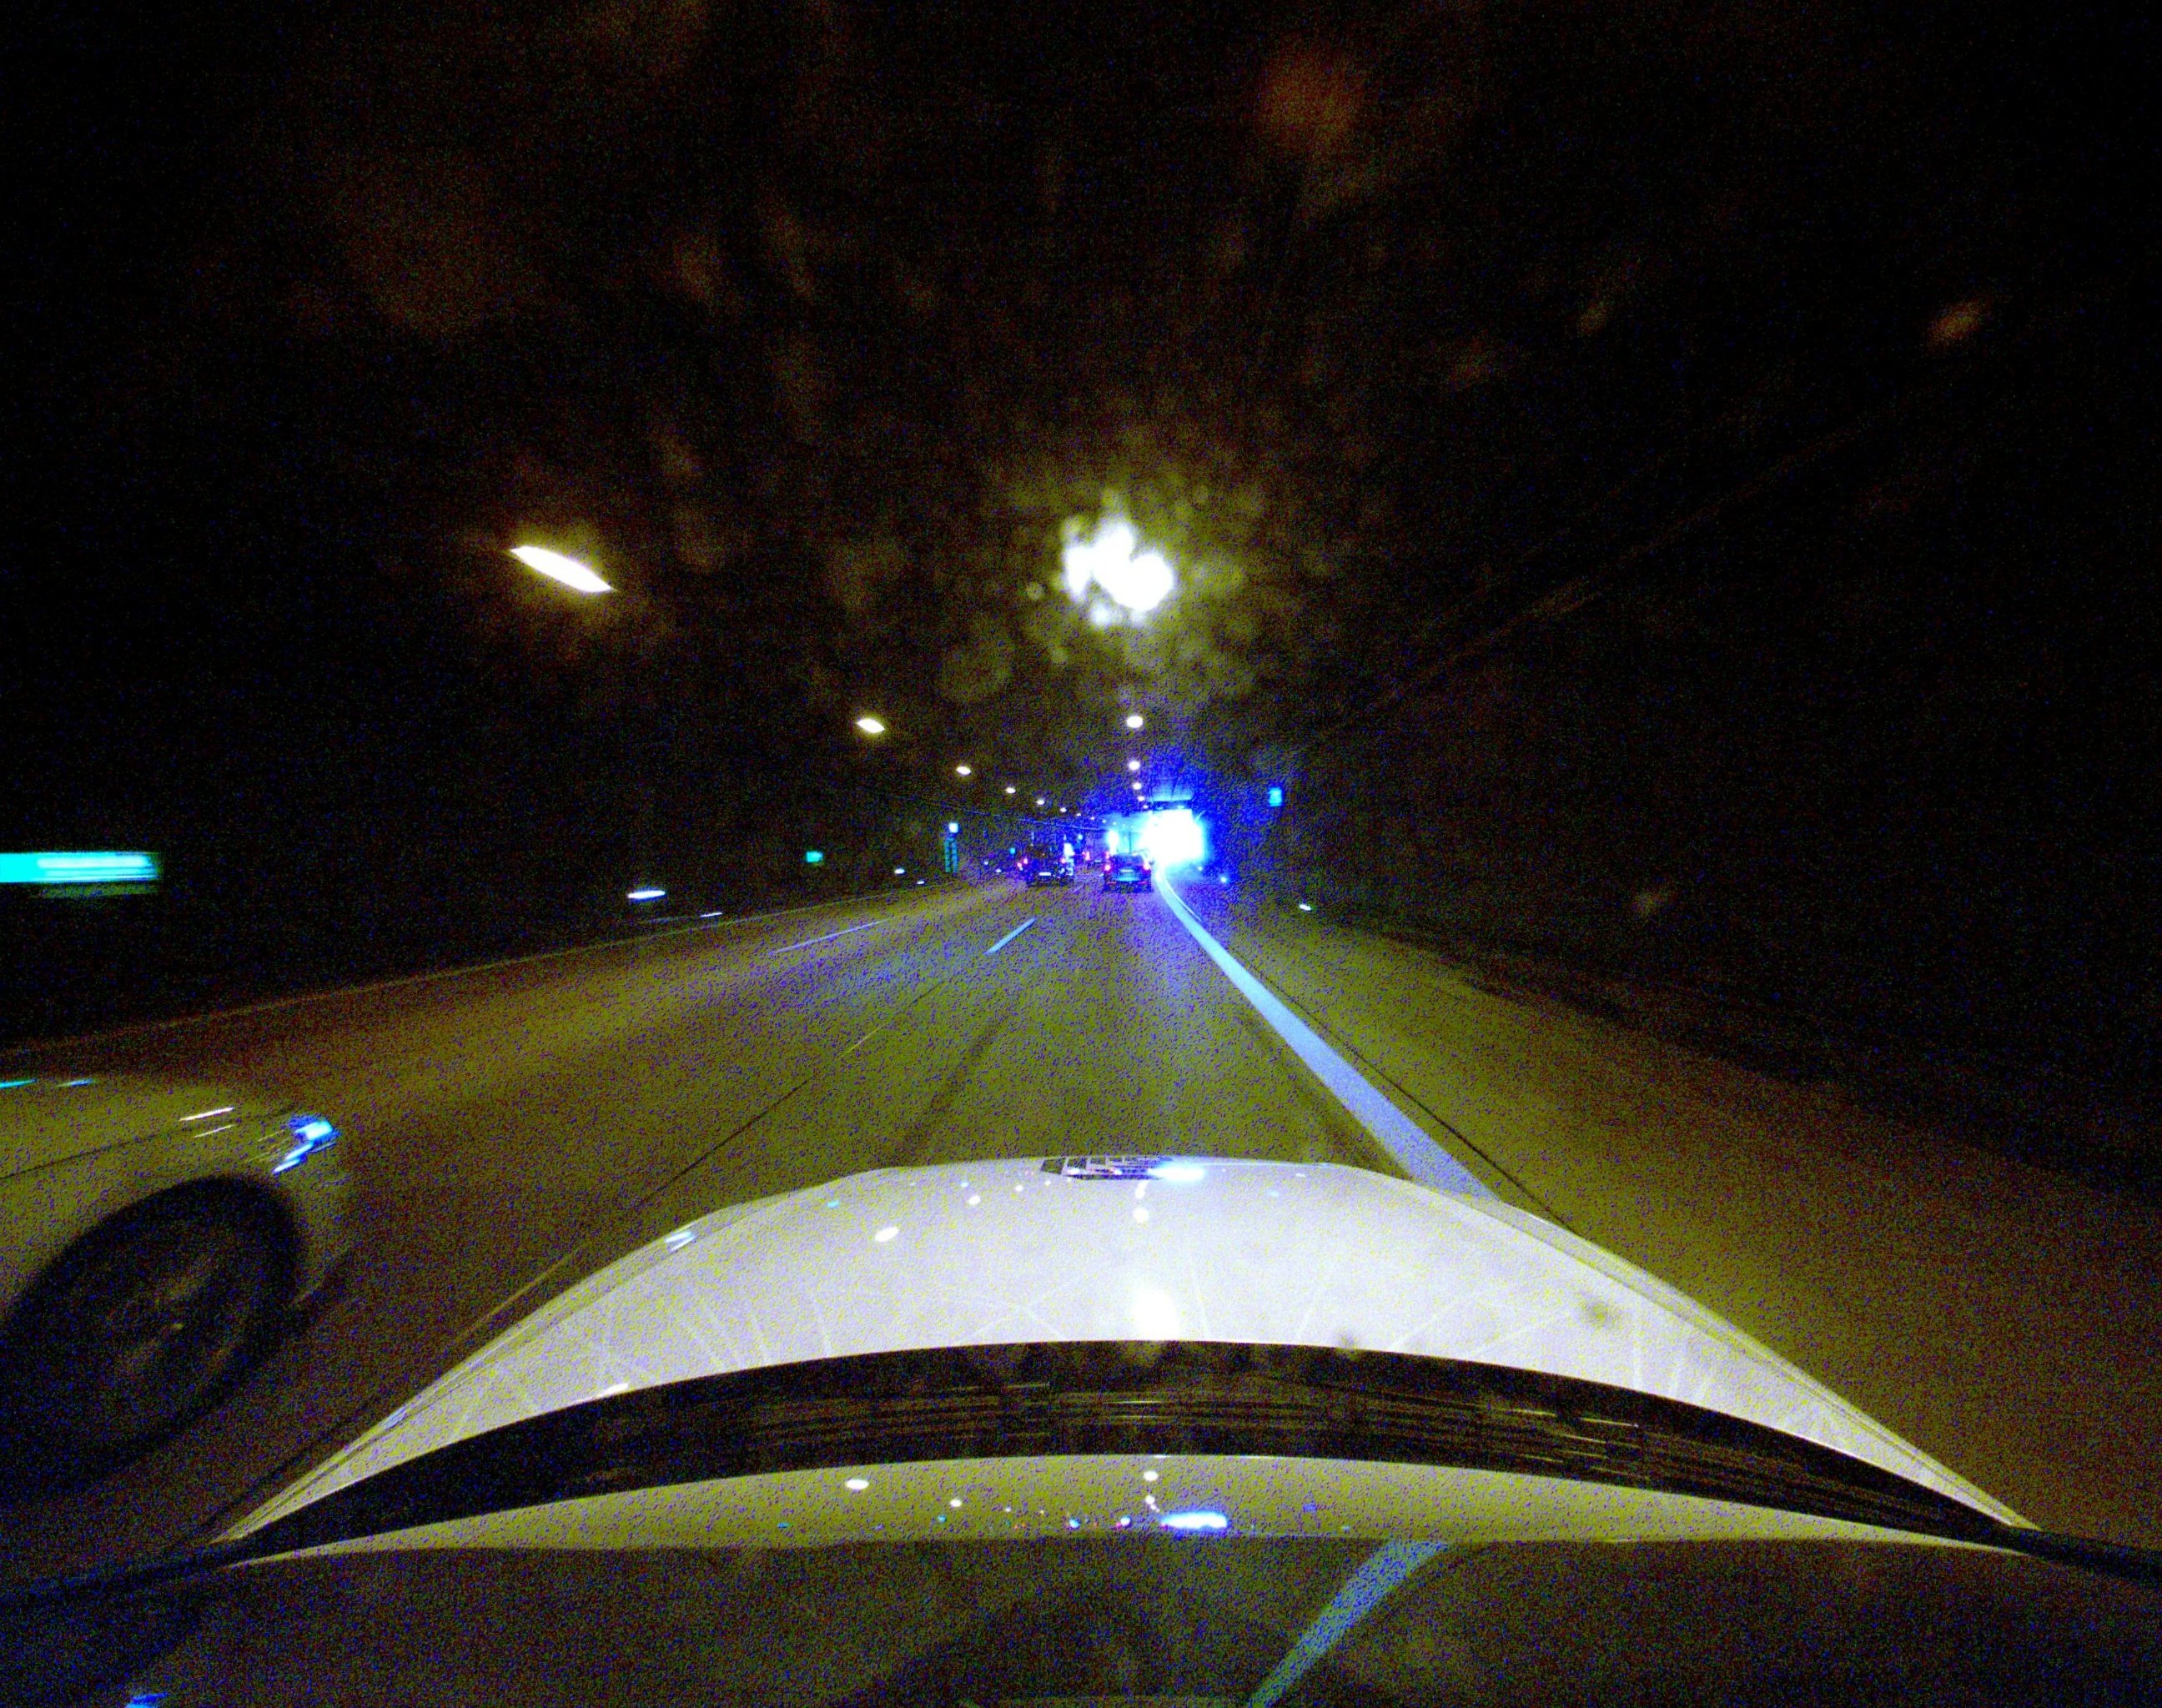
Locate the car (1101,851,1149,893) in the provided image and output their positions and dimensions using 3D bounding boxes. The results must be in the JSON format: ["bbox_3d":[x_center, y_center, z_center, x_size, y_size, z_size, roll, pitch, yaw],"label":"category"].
[{"bbox_3d":[1.736,0.667,31.900,1.735,1.464,3.875,-2,1,3],"label":"car"}]

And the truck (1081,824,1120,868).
[{"bbox_3d":[1.868,-0.667,73.378,3.025,3.673,7.402,-1,0,5],"label":"truck"}]

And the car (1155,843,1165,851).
[{"bbox_3d":[17.487,-1.601,179.652,1.919,1.642,4.011,-1,0,9],"label":"car"}]

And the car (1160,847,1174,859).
[{"bbox_3d":[13.026,-0.077,124.077,1.922,1.643,4.004,-2,-2,4],"label":"car"}]

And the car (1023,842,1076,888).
[{"bbox_3d":[-1.400,0.448,37.570,1.901,1.944,3.877,-2,0,5],"label":"car"}]

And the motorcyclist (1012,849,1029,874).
[{"bbox_3d":[-3.593,0.460,48.466,0.773,1.453,1.071,-2,-2,6],"label":"motorcyclist"}]

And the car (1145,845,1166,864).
[{"bbox_3d":[7.611,0.066,82.800,1.939,1.772,4.007,-2,-2,7],"label":"car"}]

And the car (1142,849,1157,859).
[{"bbox_3d":[11.089,0.008,132.023,1.981,1.632,4.011,-2,-1,10],"label":"car"}]

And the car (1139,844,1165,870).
[{"bbox_3d":[5.259,0.210,59.974,1.848,1.854,4.006,-1,0,6],"label":"car"}]

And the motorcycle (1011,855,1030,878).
[{"bbox_3d":[-3.585,0.770,48.472,0.679,1.297,2.402,-2,-2,6],"label":"motorcycle"}]

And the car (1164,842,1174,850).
[{"bbox_3d":[21.211,-1.893,196.803,1.917,1.643,4.013,-2,-2,12],"label":"car"}]

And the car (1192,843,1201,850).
[{"bbox_3d":[26.234,-1.678,184.898,1.918,1.642,4.012,-1,0,11],"label":"car"}]

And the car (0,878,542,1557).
[{"bbox_3d":[-3.225,0.830,0.925,1.696,1.419,5.062,-2,0,2],"label":"car"}]

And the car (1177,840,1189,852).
[{"bbox_3d":[19.055,-1.469,152.064,1.985,2.014,4.003,-2,-2,3],"label":"car"}]
